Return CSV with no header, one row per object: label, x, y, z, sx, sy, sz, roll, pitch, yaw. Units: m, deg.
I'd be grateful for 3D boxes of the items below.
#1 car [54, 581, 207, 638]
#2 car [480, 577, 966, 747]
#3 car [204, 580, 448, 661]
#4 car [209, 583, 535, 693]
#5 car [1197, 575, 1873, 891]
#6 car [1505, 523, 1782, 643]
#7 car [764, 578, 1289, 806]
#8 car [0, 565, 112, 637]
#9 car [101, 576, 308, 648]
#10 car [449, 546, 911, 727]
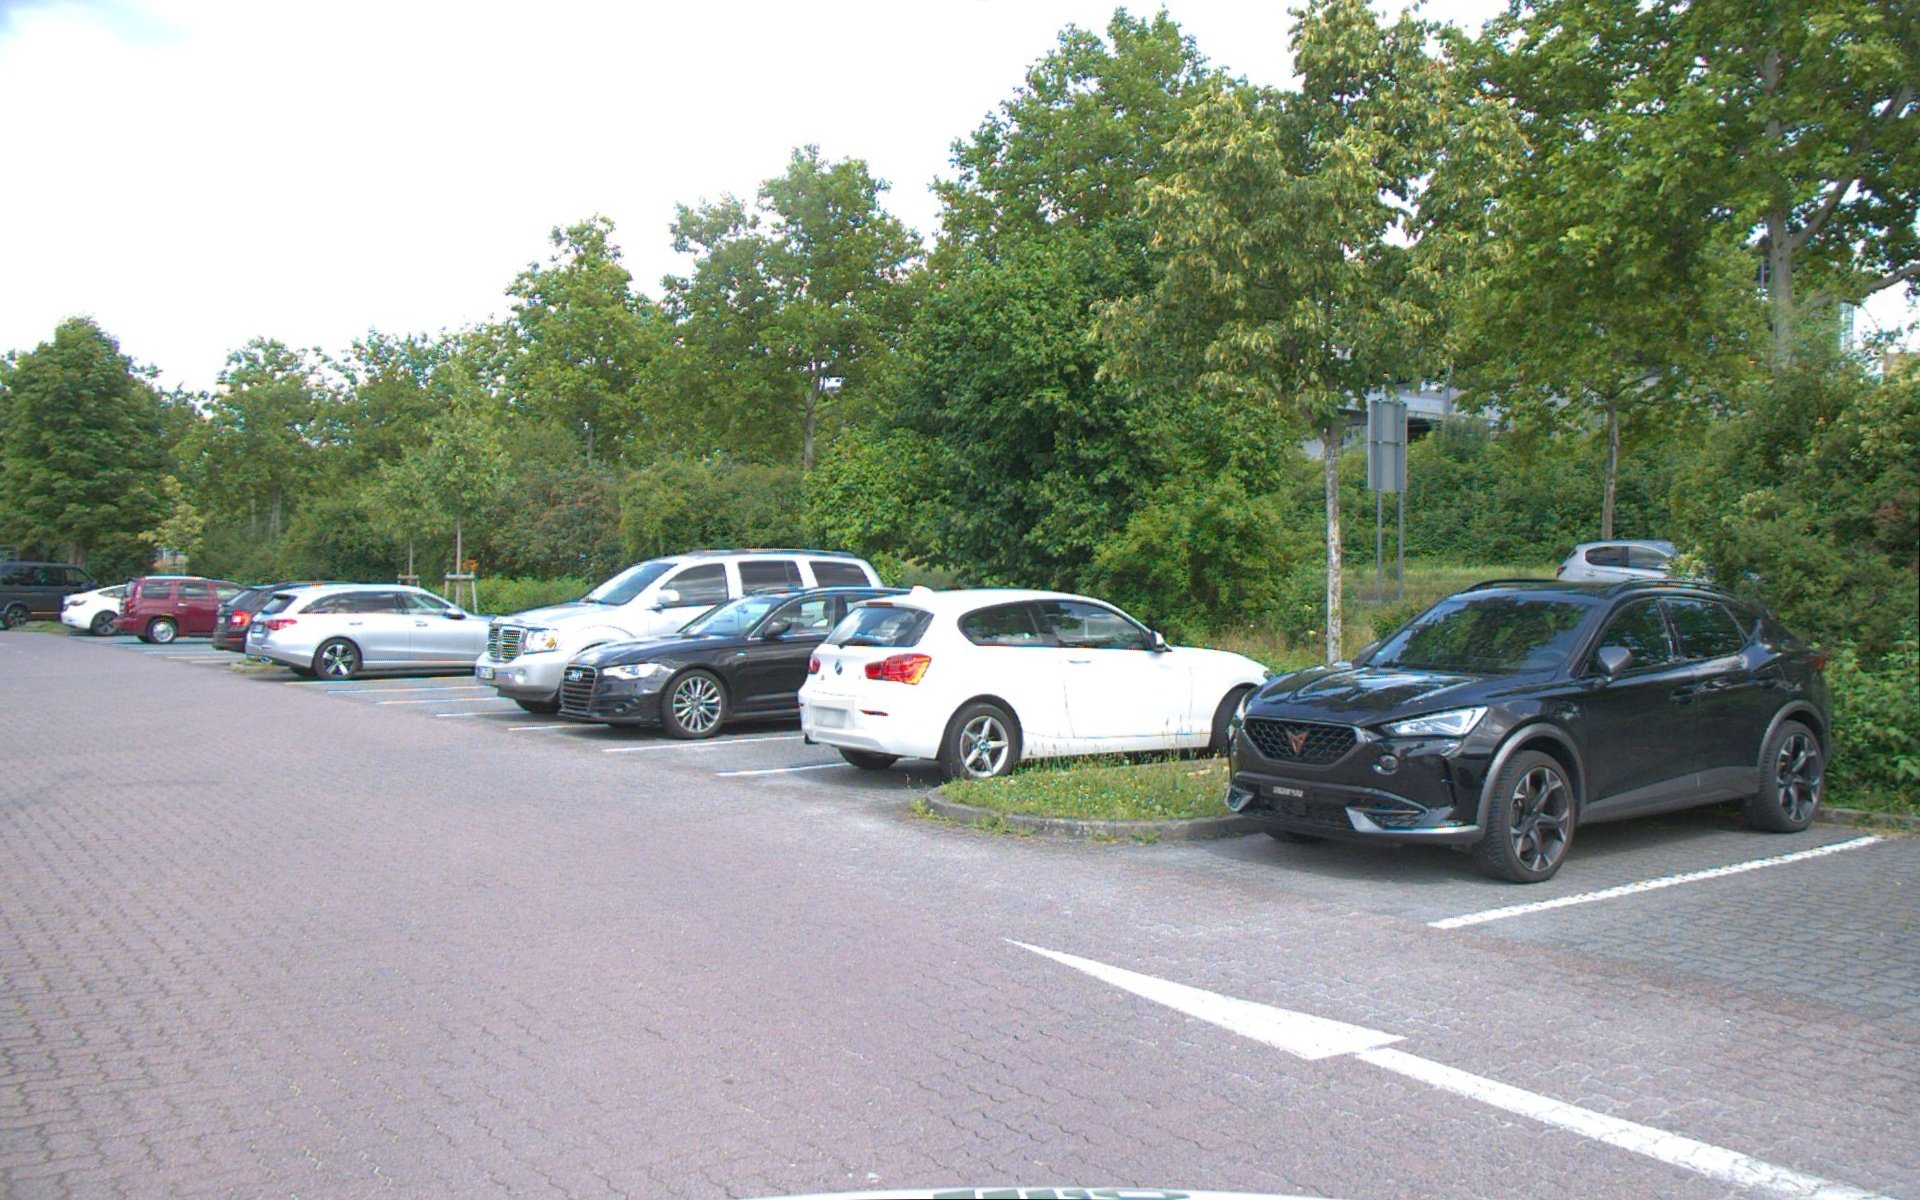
car,-23.125,0.260,46.150,3.604,1.494,1.613,-1,-1,-36
car,-2.357,0.533,17.059,4.670,1.476,1.817,-2,1,-35
car,-11.738,0.395,30.720,3.958,1.405,1.676,1,-2,-38
car,-9.313,0.539,26.386,4.604,1.530,1.761,-2,1,-37
car,3.504,0.599,9.746,4.196,1.435,1.711,-2,1,-36
car,12.592,-0.272,30.716,1.899,2.049,4.434,2,-1,-38
car,0.602,0.621,13.322,4.031,1.536,1.671,-1,1,-33
car,-27.685,0.063,49.231,1.902,2.054,4.055,-1,-1,24
car,-18.444,0.252,40.450,4.276,1.623,1.973,-2,1,-38
car,-3.204,0.323,19.572,5.094,1.874,1.964,-2,1,-38
